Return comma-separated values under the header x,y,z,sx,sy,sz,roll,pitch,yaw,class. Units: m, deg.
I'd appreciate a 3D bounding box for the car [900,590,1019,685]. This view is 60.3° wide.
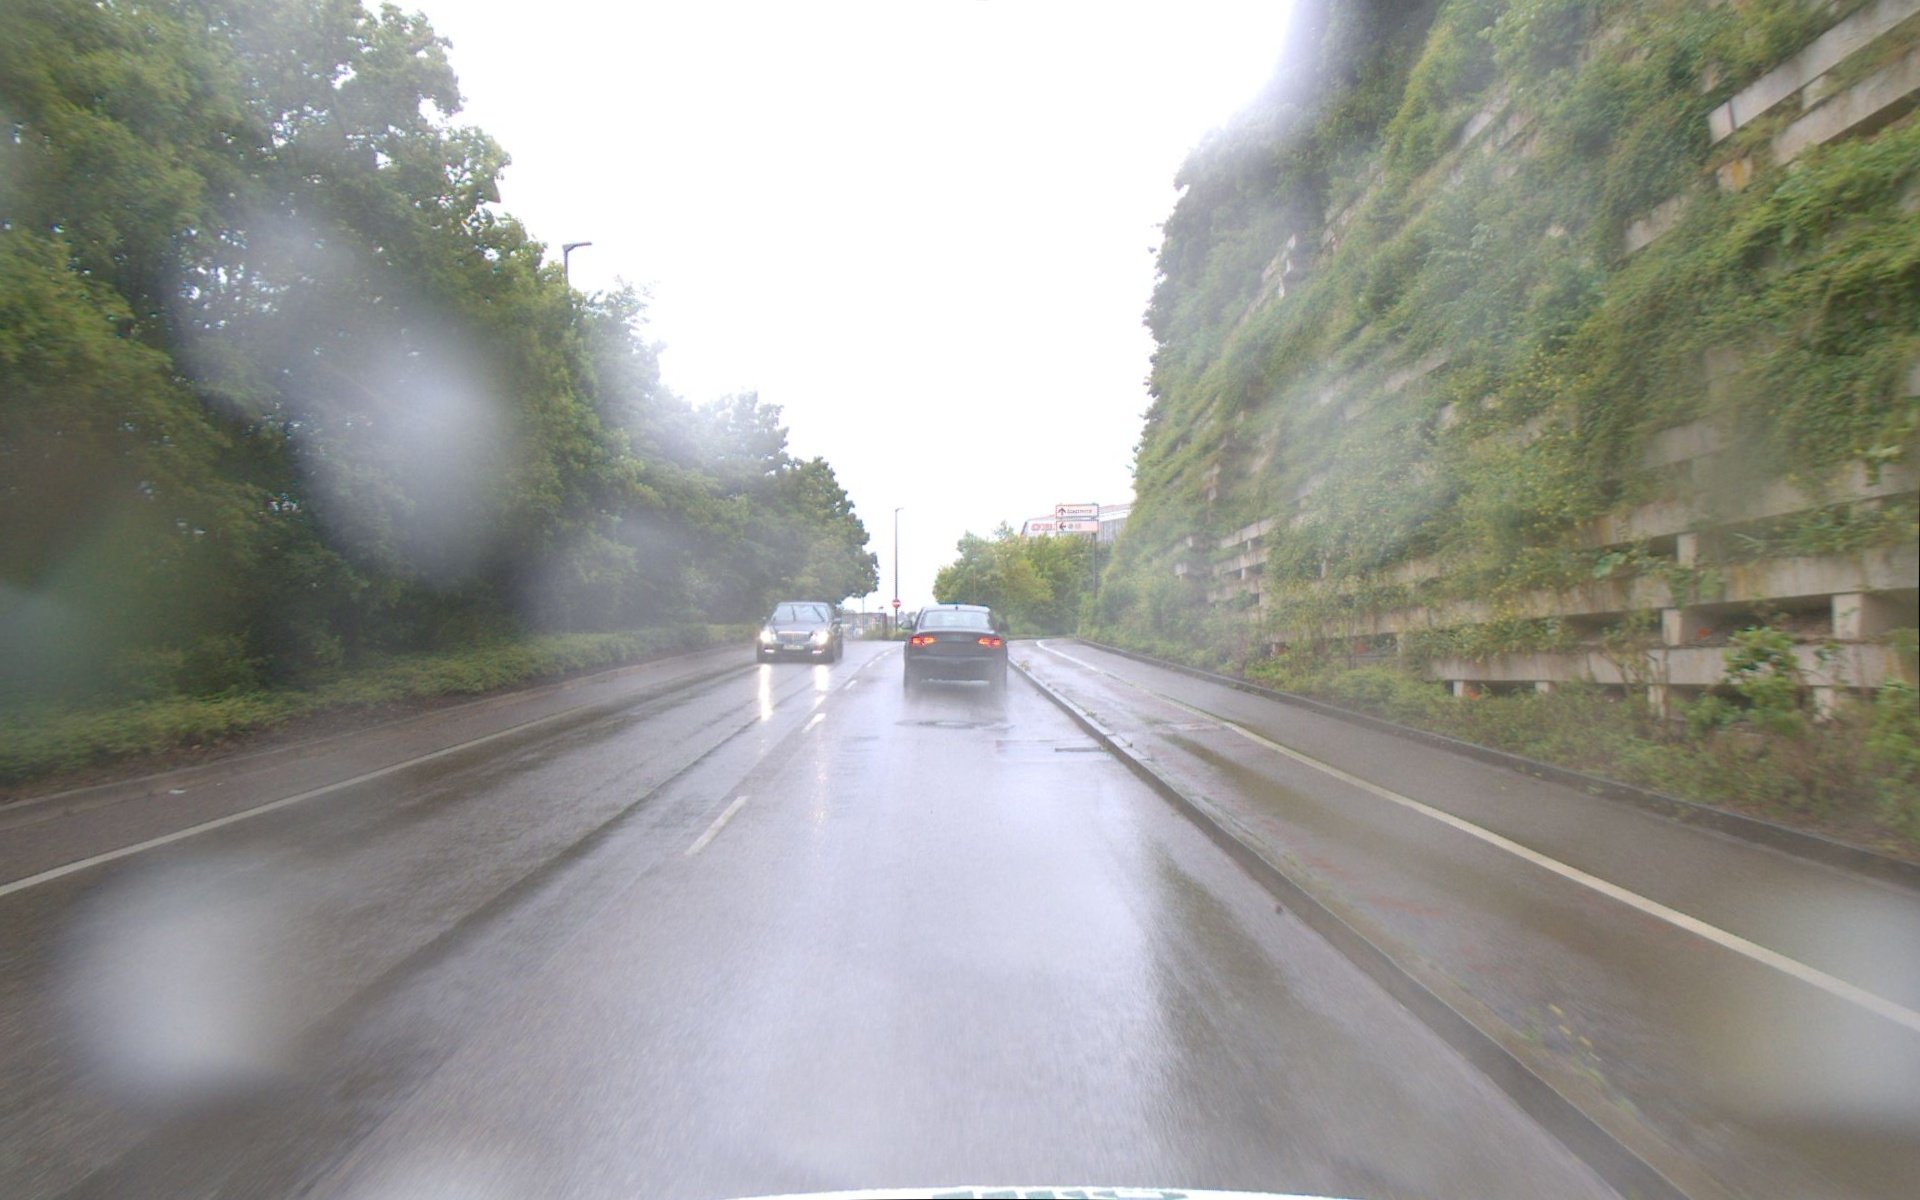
x,y,z,sx,sy,sz,roll,pitch,yaw,class
0.067,0.591,28.674,1.853,1.518,4.209,0,0,3,car

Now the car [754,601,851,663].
x,y,z,sx,sy,sz,roll,pitch,yaw,class
-3.752,0.729,40.053,1.953,1.388,4.251,1,0,0,car
